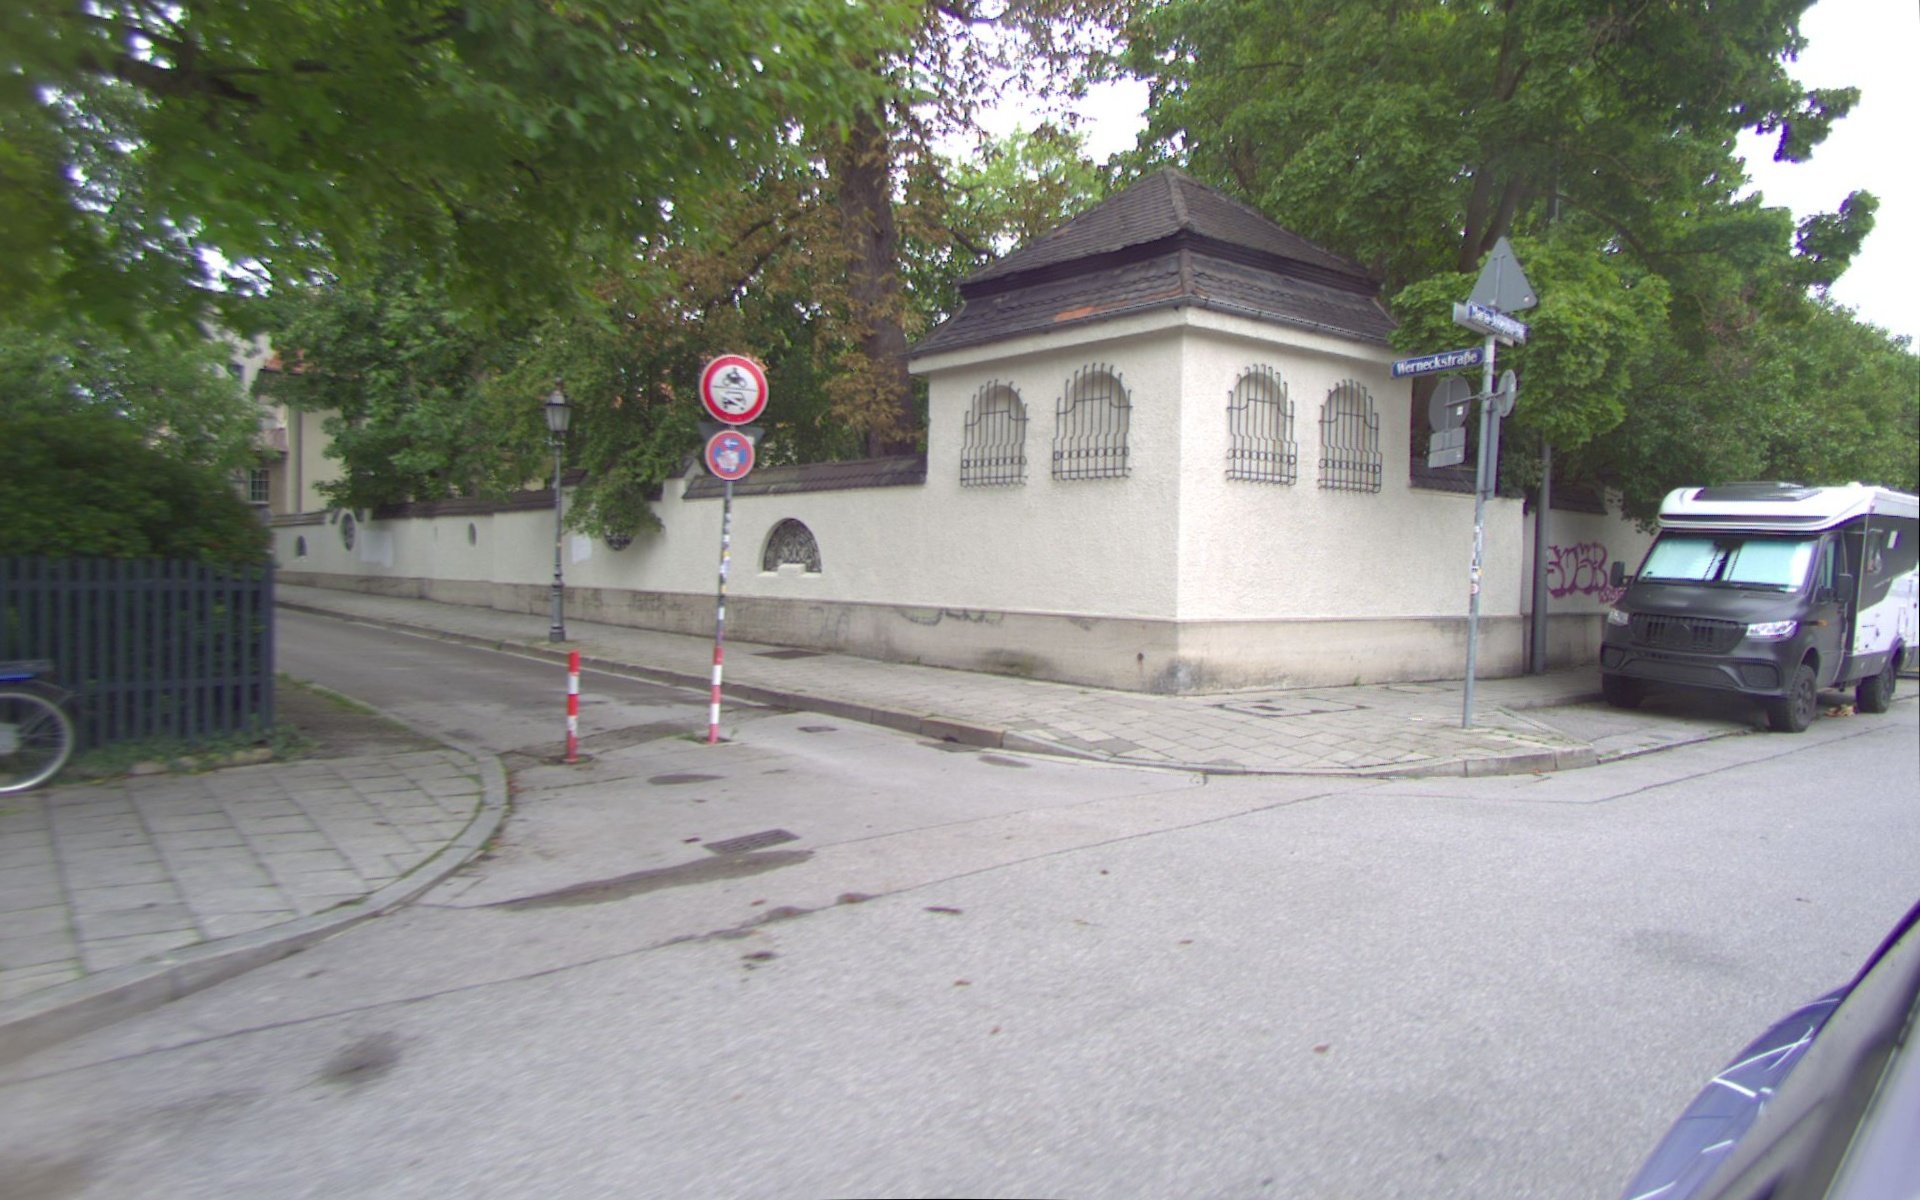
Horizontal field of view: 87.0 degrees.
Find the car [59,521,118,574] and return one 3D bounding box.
[{"bbox_3d":[-45.093,-2.718,52.278,2.010,2.486,7.619,0,2,-43],"label":"car"}]

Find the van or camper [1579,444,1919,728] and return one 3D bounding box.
[{"bbox_3d":[11.114,-0.184,13.520,7.140,2.942,2.280,0,2,-37],"label":"van or camper"}]

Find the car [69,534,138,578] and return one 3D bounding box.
[{"bbox_3d":[-37.382,-1.930,44.122,4.400,1.814,1.900,3,2,44],"label":"car"}]

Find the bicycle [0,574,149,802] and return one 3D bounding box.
[{"bbox_3d":[-5.562,0.454,5.322,0.806,1.176,1.941,3,2,44],"label":"bicycle"}]
